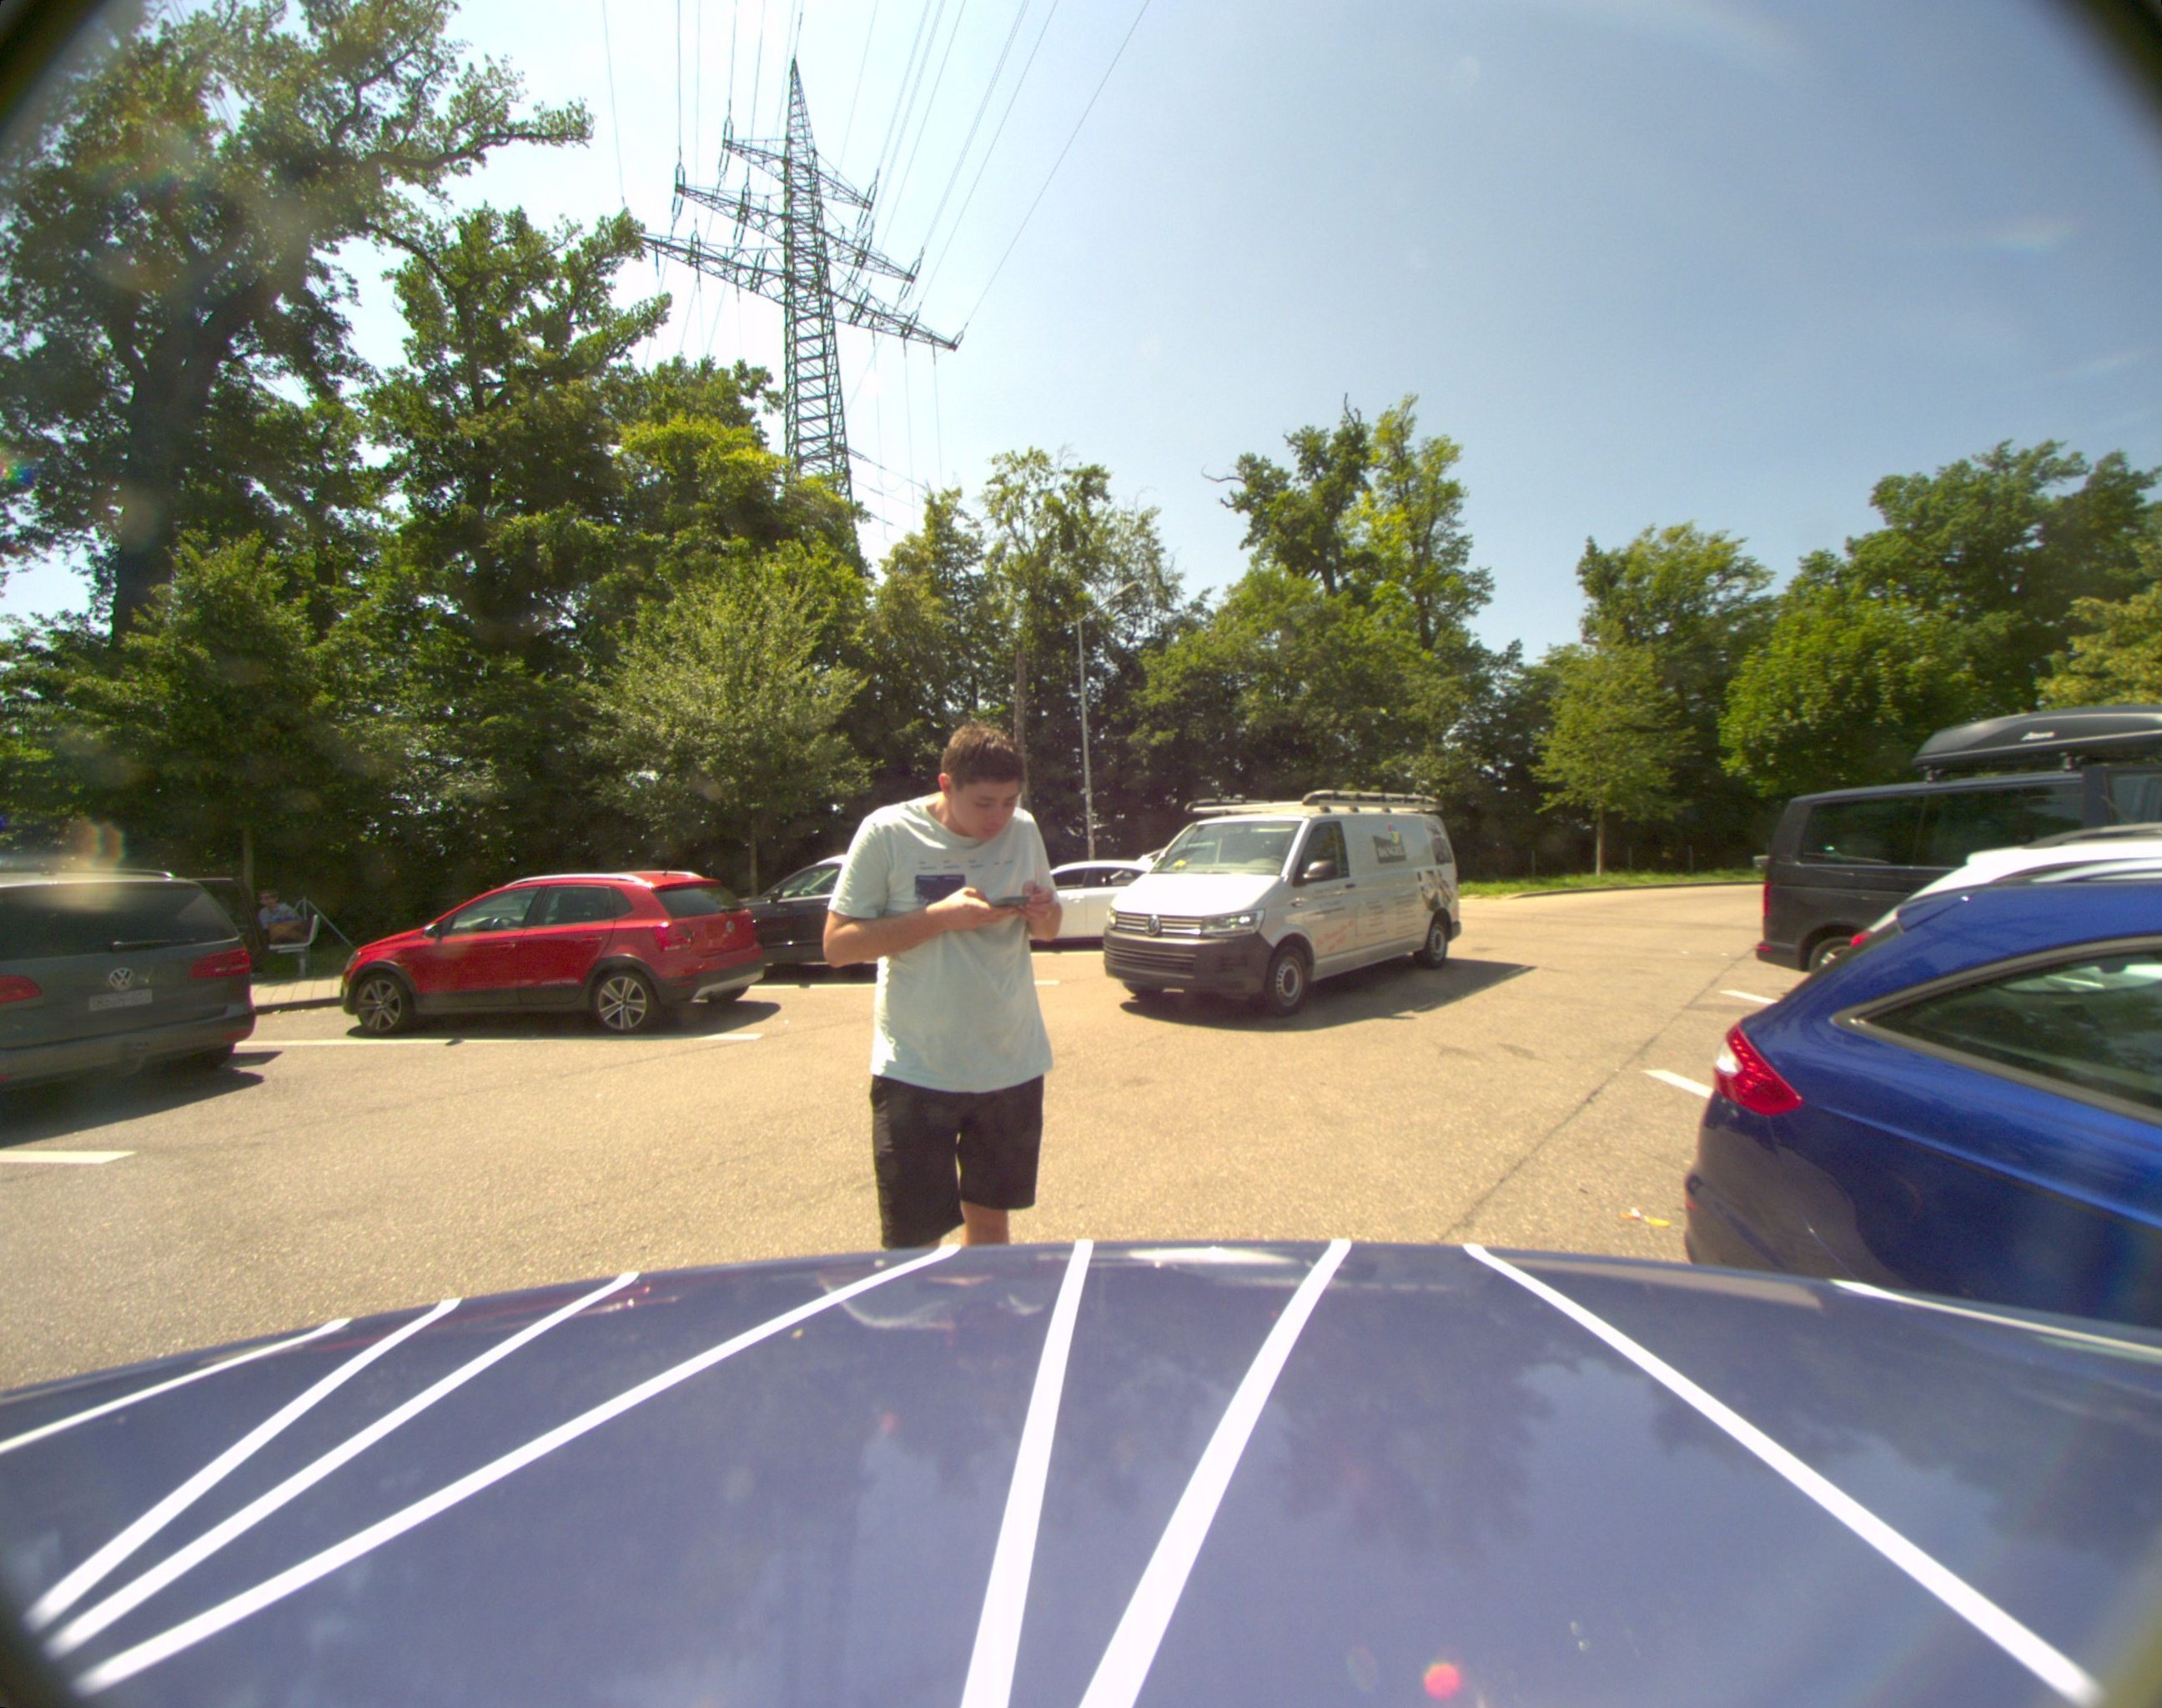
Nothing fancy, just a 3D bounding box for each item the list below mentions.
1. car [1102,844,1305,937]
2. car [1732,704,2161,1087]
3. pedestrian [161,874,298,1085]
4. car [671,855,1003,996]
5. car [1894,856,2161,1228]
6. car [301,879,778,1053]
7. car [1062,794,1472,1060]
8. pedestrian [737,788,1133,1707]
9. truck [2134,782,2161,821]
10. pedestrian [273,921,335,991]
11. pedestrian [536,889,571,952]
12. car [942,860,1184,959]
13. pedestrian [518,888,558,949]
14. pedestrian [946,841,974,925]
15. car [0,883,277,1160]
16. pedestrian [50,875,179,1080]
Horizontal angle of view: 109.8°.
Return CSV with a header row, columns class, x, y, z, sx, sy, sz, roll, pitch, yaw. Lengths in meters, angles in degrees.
class,x,y,z,sx,sy,sz,roll,pitch,yaw
car,2.434,0.715,15.662,3.850,1.678,1.755,-2,0,4
car,7.320,0.233,5.289,1.788,2.304,4.084,-2,0,-5
pedestrian,-7.391,1.050,6.609,0.481,1.712,0.589,-2,1,22
car,-3.102,0.896,10.235,3.866,1.607,1.709,-2,0,0
car,4.689,0.699,2.191,1.344,1.352,3.114,-2,0,1
car,-5.277,1.058,7.664,3.745,1.458,1.621,-2,0,7
car,2.428,0.540,8.524,5.445,2.092,1.839,-2,1,-45
pedestrian,-0.381,0.782,1.917,0.741,1.818,0.613,-2,0,-34
truck,40.304,-1.973,27.157,1.168,1.367,2.882,-2,-1,-19
pedestrian,-10.737,1.394,10.514,0.503,0.874,0.512,-3,1,-39
pedestrian,-10.135,1.270,14.591,0.366,1.186,0.356,-2,1,21
car,-0.223,0.883,12.858,3.773,1.445,1.848,-2,0,4
pedestrian,-10.996,1.296,15.389,0.413,1.186,0.443,-2,1,12
pedestrian,-2.881,0.674,18.014,0.573,1.942,0.430,-2,0,-11
car,-8.371,1.109,5.428,3.903,1.607,1.705,-2,1,11
pedestrian,-8.501,1.055,6.697,0.436,1.712,0.511,-2,1,17
